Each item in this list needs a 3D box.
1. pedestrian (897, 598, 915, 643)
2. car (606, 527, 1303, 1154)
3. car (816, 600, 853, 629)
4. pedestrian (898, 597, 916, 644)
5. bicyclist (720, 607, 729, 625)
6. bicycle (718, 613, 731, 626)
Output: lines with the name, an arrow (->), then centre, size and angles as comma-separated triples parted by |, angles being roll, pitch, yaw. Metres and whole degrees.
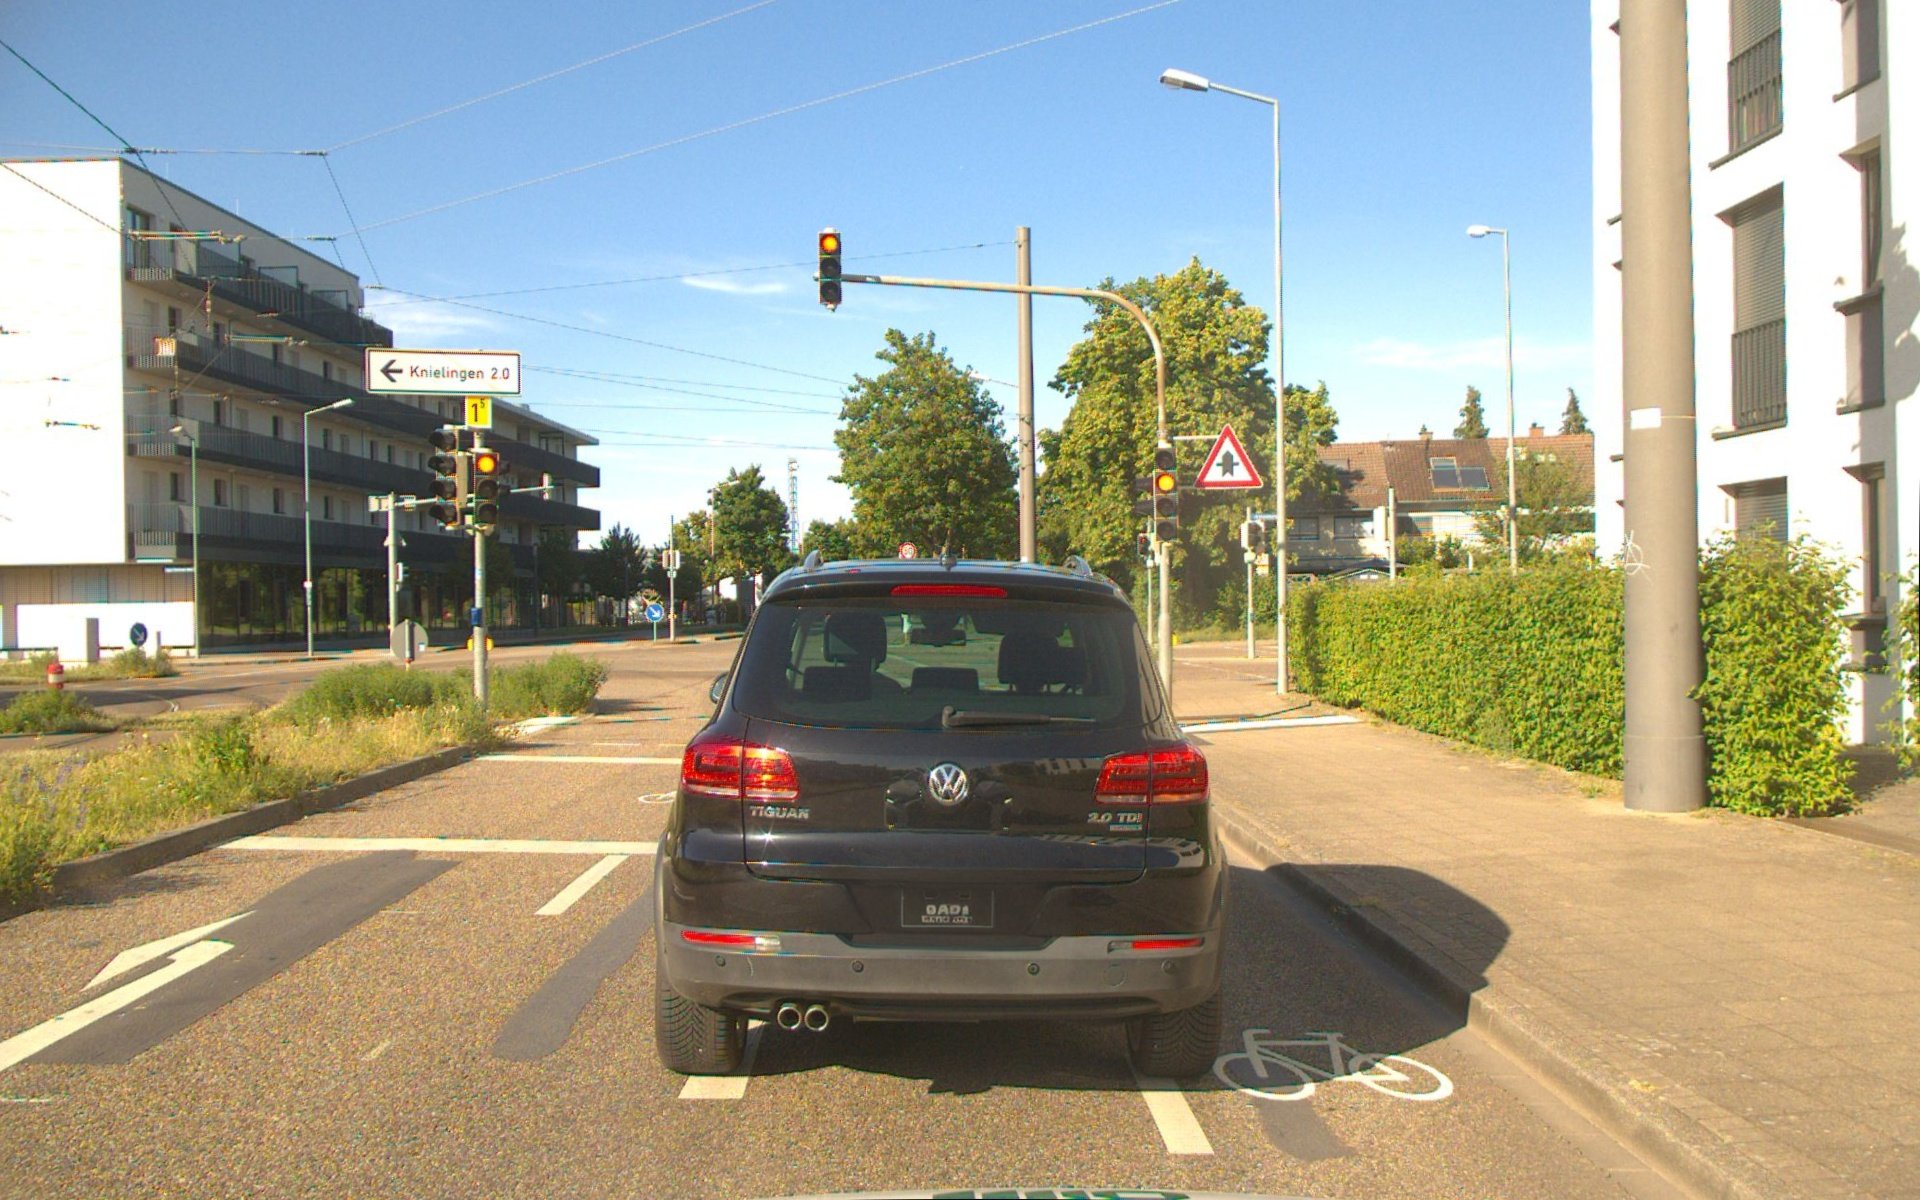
pedestrian -> -1.926, 0.717, 59.048 | 0.590, 1.592, 0.529 | 0, 0, 4
car -> -0.077, 0.645, 6.453 | 1.867, 1.671, 3.998 | 0, 0, -2
car -> -6.321, 0.718, 83.620 | 1.716, 1.411, 3.998 | 0, 0, -2
pedestrian -> -1.897, 0.746, 59.740 | 0.590, 1.668, 0.529 | 0, 0, 4
bicyclist -> -16.228, 1.124, 114.000 | 0.464, 1.245, 0.713 | 0, 0, 3
bicycle -> -16.226, 1.361, 114.065 | 0.485, 0.863, 2.079 | 0, 0, 3
